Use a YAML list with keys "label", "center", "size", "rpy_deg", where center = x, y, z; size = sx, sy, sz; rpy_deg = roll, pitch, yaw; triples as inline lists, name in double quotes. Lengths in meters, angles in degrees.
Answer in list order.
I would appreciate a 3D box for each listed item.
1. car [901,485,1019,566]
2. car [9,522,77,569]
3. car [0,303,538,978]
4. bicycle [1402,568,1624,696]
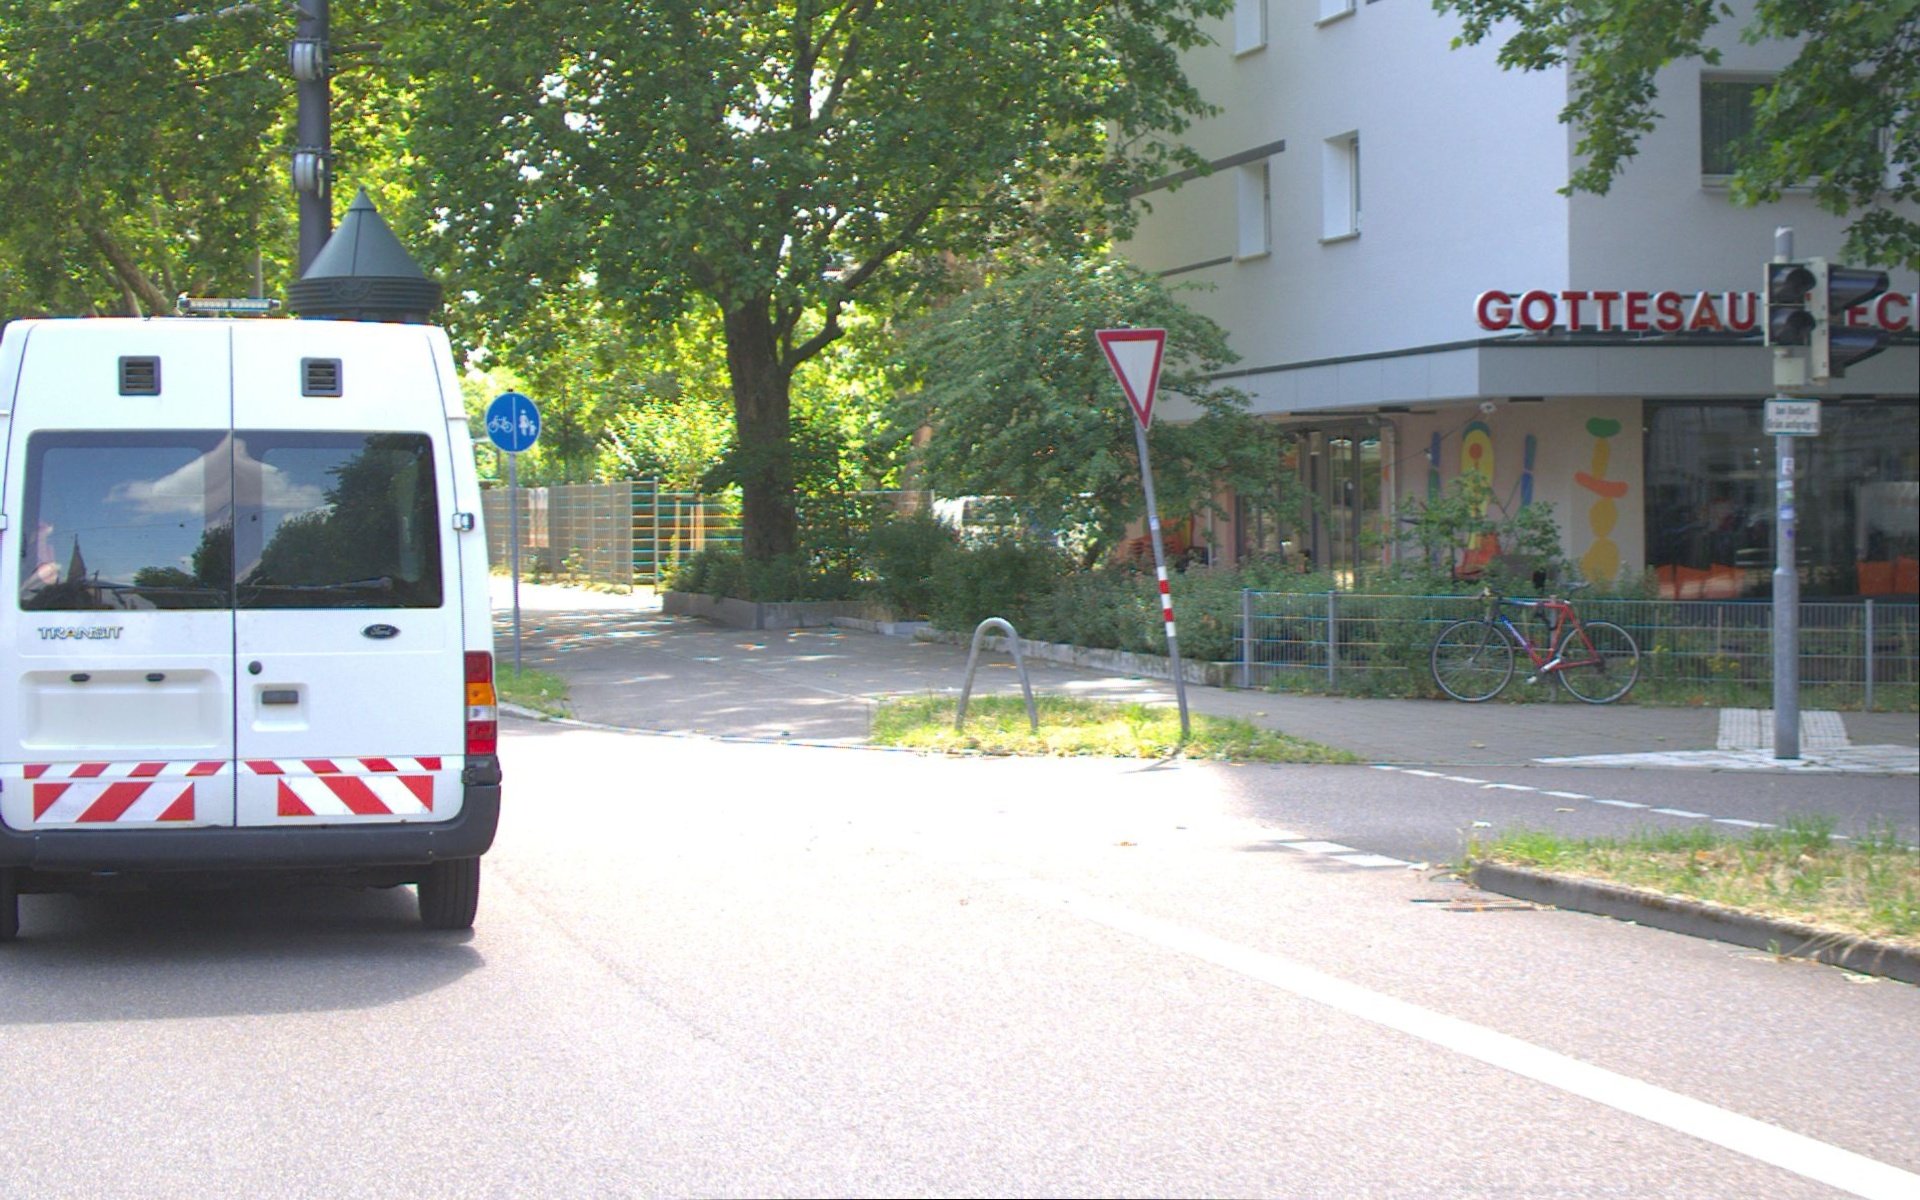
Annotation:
- label: "car"
  center: [-0.034, -1.733, 79.746]
  size: [1.806, 1.808, 4.340]
  rpy_deg: [-1, 1, -13]
- label: "car"
  center: [-29.564, -1.762, 110.807]
  size: [1.815, 1.487, 4.001]
  rpy_deg: [-1, 1, -19]
- label: "car"
  center: [-3.065, 0.067, 14.339]
  size: [2.046, 2.325, 4.716]
  rpy_deg: [-1, 2, -13]
- label: "bicycle"
  center: [4.442, 0.251, 27.592]
  size: [1.724, 1.006, 0.534]
  rpy_deg: [0, 1, 13]
